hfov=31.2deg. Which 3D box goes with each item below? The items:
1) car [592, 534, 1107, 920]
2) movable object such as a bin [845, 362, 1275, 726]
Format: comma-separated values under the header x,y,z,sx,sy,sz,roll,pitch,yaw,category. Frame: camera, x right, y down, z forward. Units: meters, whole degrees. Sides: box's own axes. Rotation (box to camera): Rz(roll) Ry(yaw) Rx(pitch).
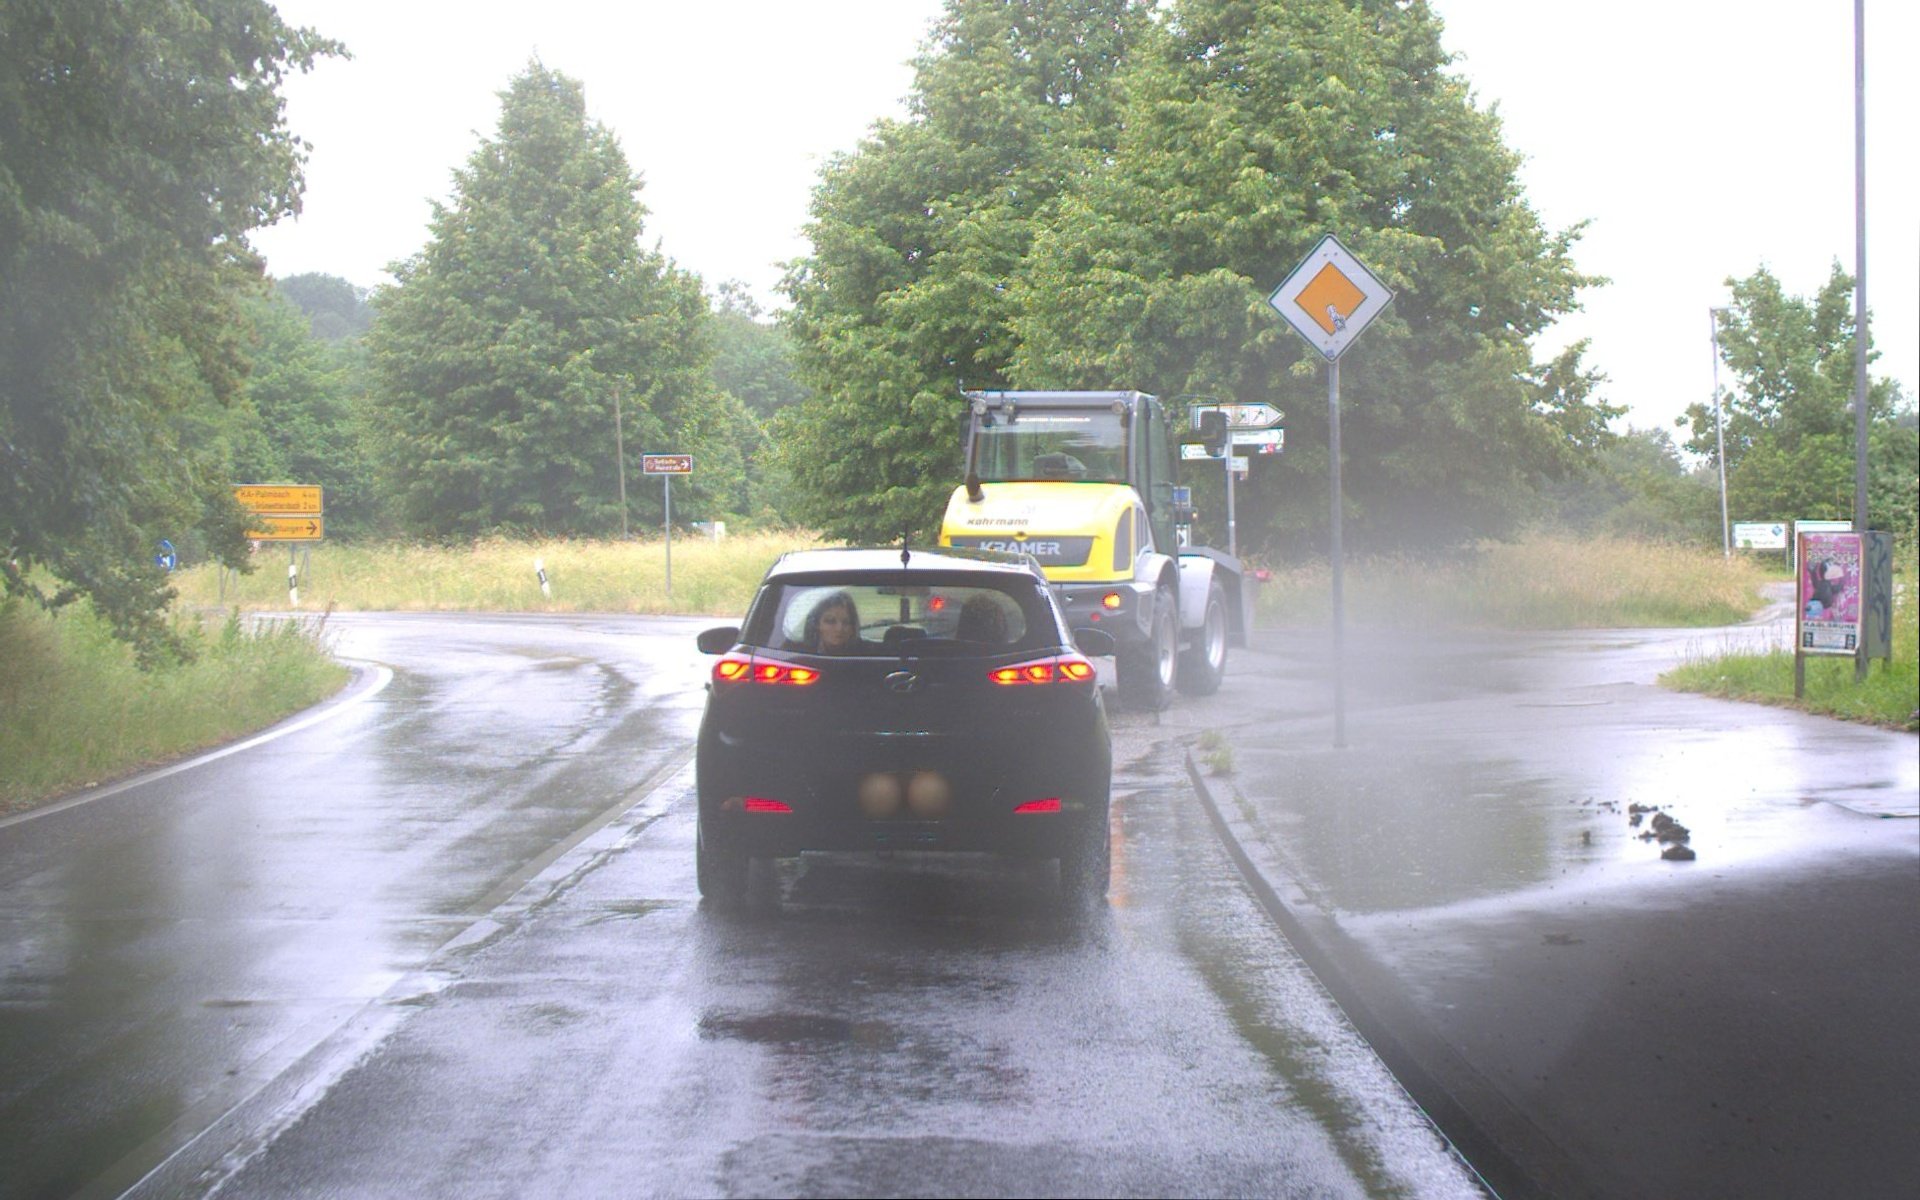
x,y,z,sx,sy,sz,roll,pitch,yaw,category
-0.575,0.465,15.451,1.993,1.482,4.001,1,1,-4,car
1.018,-0.471,28.714,2.247,2.660,6.622,1,1,13,movable object such as a bin
